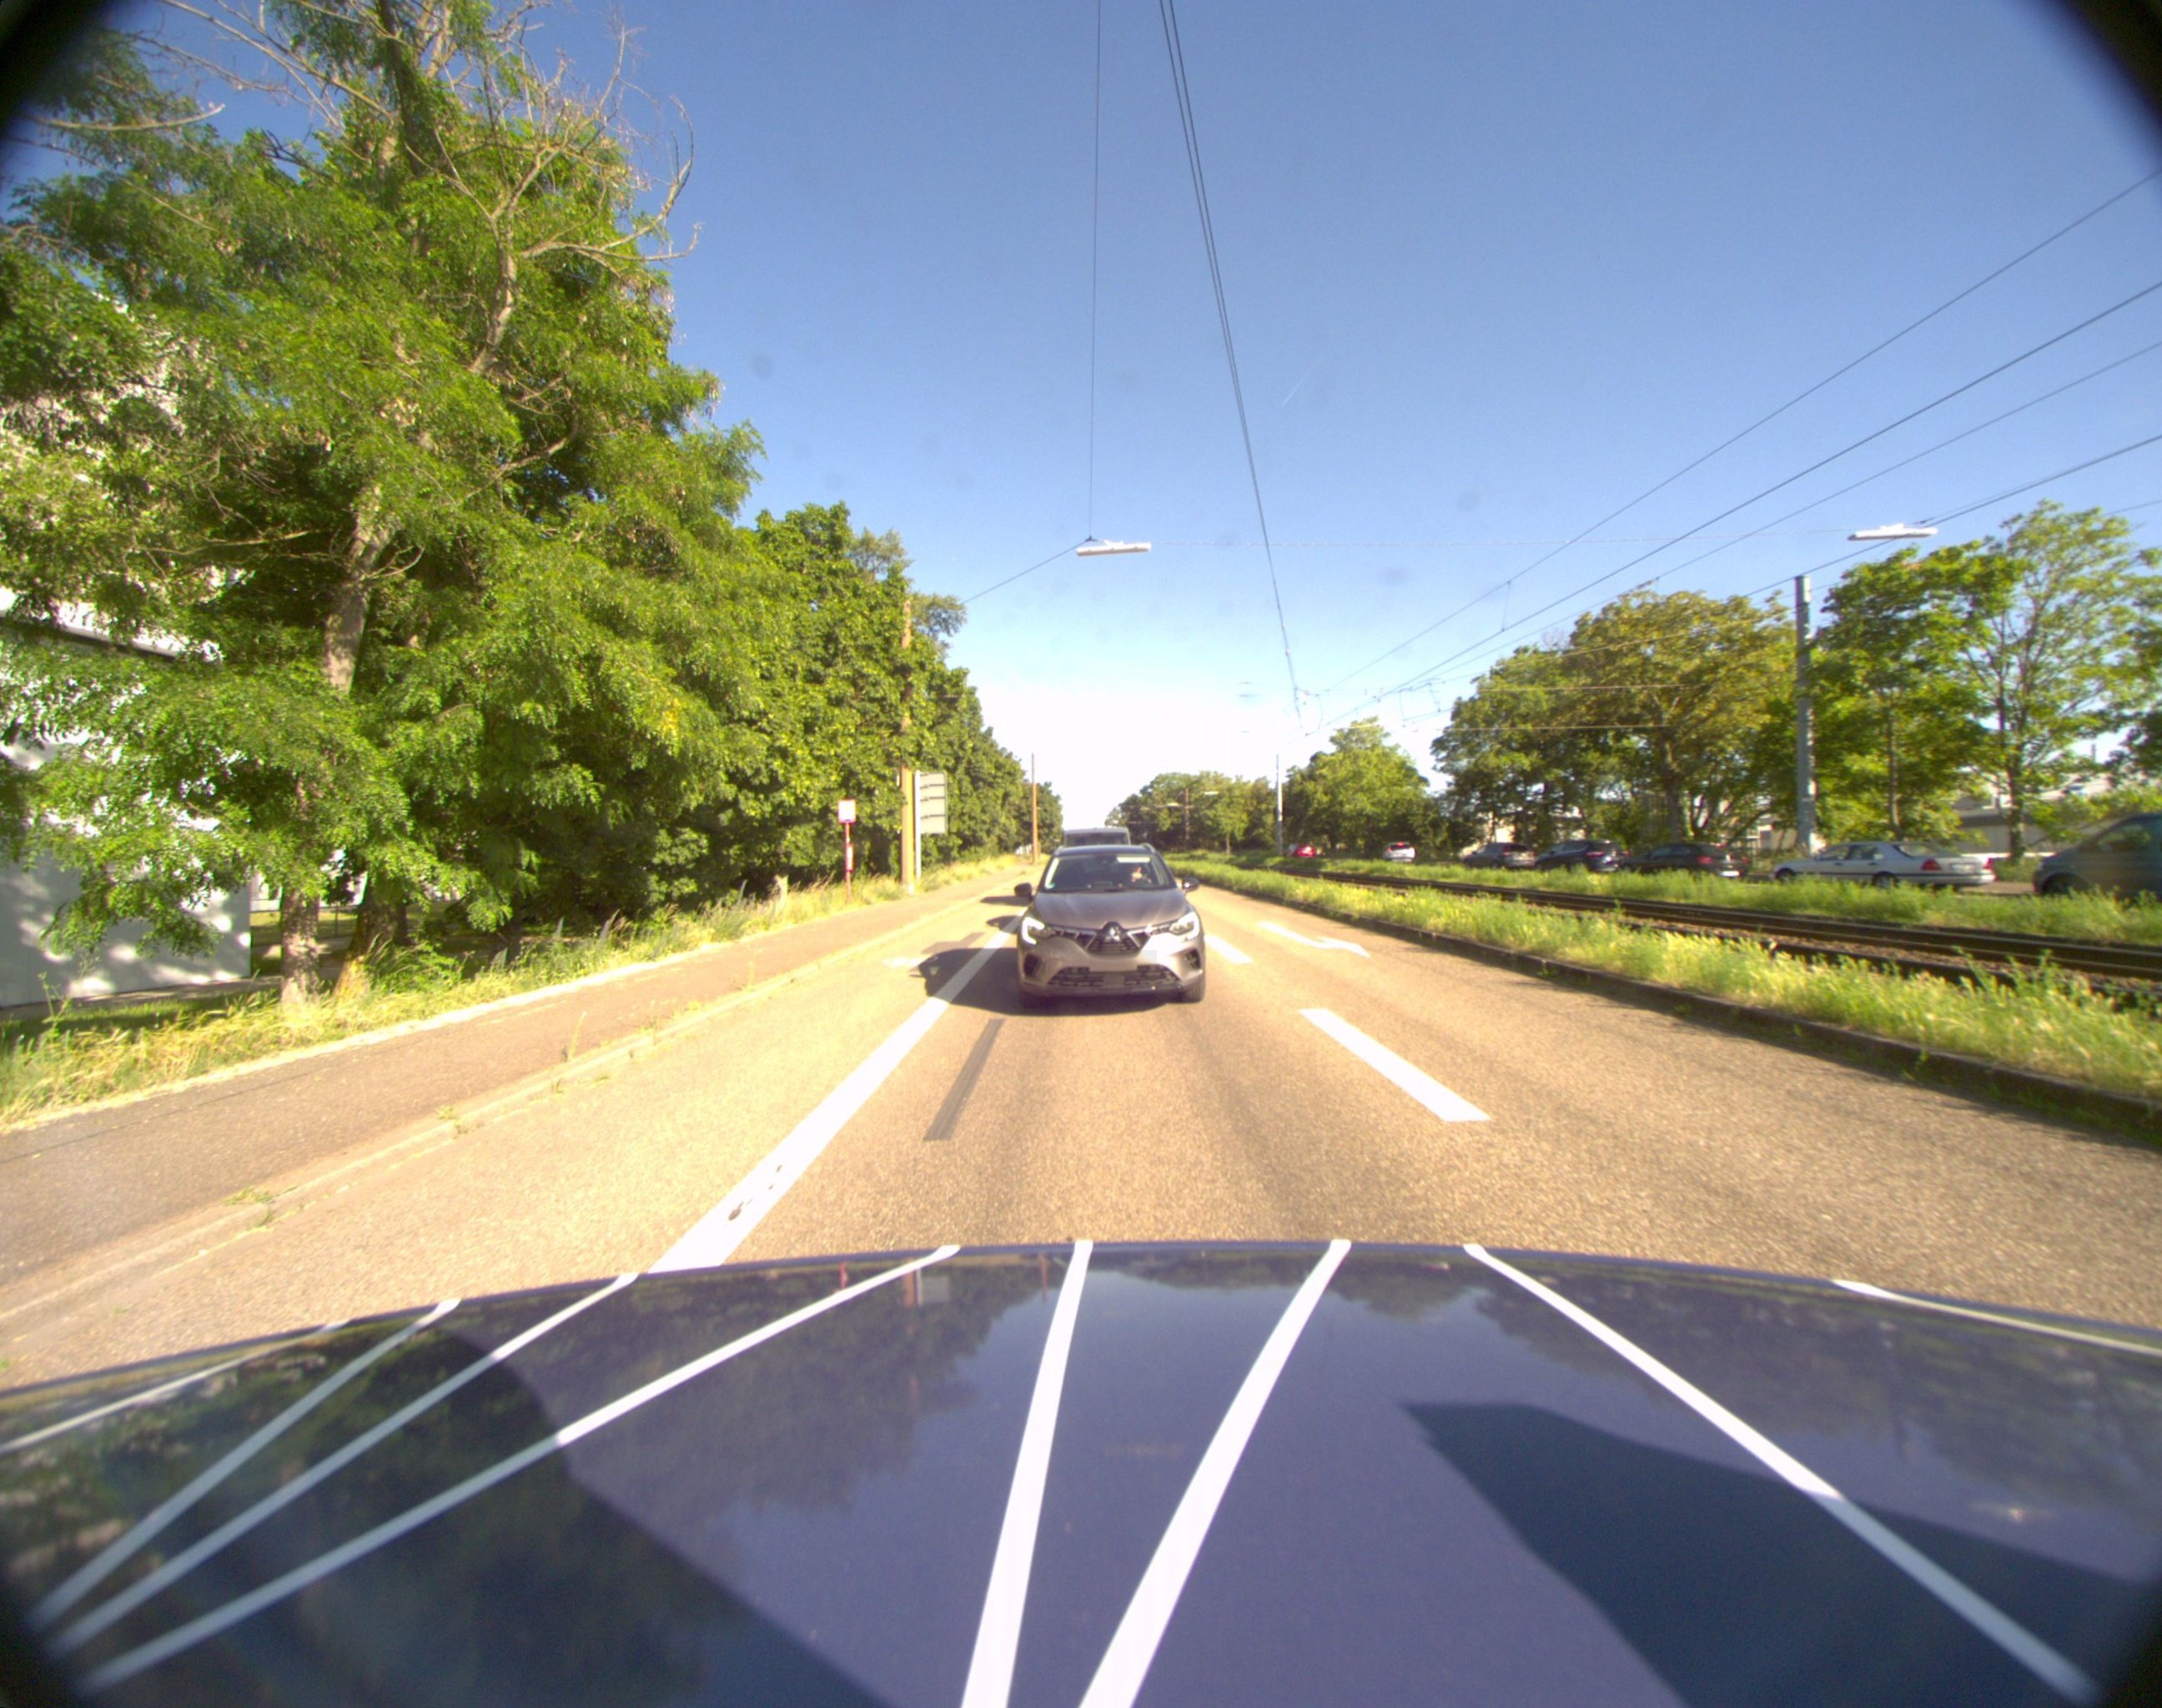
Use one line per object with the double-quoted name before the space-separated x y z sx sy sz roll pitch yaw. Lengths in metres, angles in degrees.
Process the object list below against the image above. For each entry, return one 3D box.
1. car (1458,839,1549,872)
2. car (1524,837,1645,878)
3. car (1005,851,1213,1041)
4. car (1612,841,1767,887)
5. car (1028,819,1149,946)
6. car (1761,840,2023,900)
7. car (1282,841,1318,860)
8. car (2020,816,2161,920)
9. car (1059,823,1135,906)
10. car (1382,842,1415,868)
"car" 21.589 0.062 39.046 2.130 1.554 4.560 -2 0 0
"car" 21.331 0.128 32.465 2.130 1.578 4.616 -2 0 1
"car" 0.207 0.790 8.900 1.796 1.583 4.529 -1 1 -1
"car" 21.370 0.318 26.970 1.960 1.418 4.488 -2 0 1
"car" 0.157 0.483 14.962 1.998 2.113 4.000 -2 0 1
"car" 21.570 0.384 20.577 2.130 1.372 4.615 -2 0 -1
"car" 21.021 -0.344 73.100 2.321 1.723 4.798 -2 0 3
"car" 21.253 0.232 13.982 2.207 1.923 4.685 -2 0 2
"car" 0.380 0.301 22.754 1.999 2.198 4.786 -1 0 -1
"car" 20.708 0.045 49.524 1.857 1.549 4.163 -1 0 23
